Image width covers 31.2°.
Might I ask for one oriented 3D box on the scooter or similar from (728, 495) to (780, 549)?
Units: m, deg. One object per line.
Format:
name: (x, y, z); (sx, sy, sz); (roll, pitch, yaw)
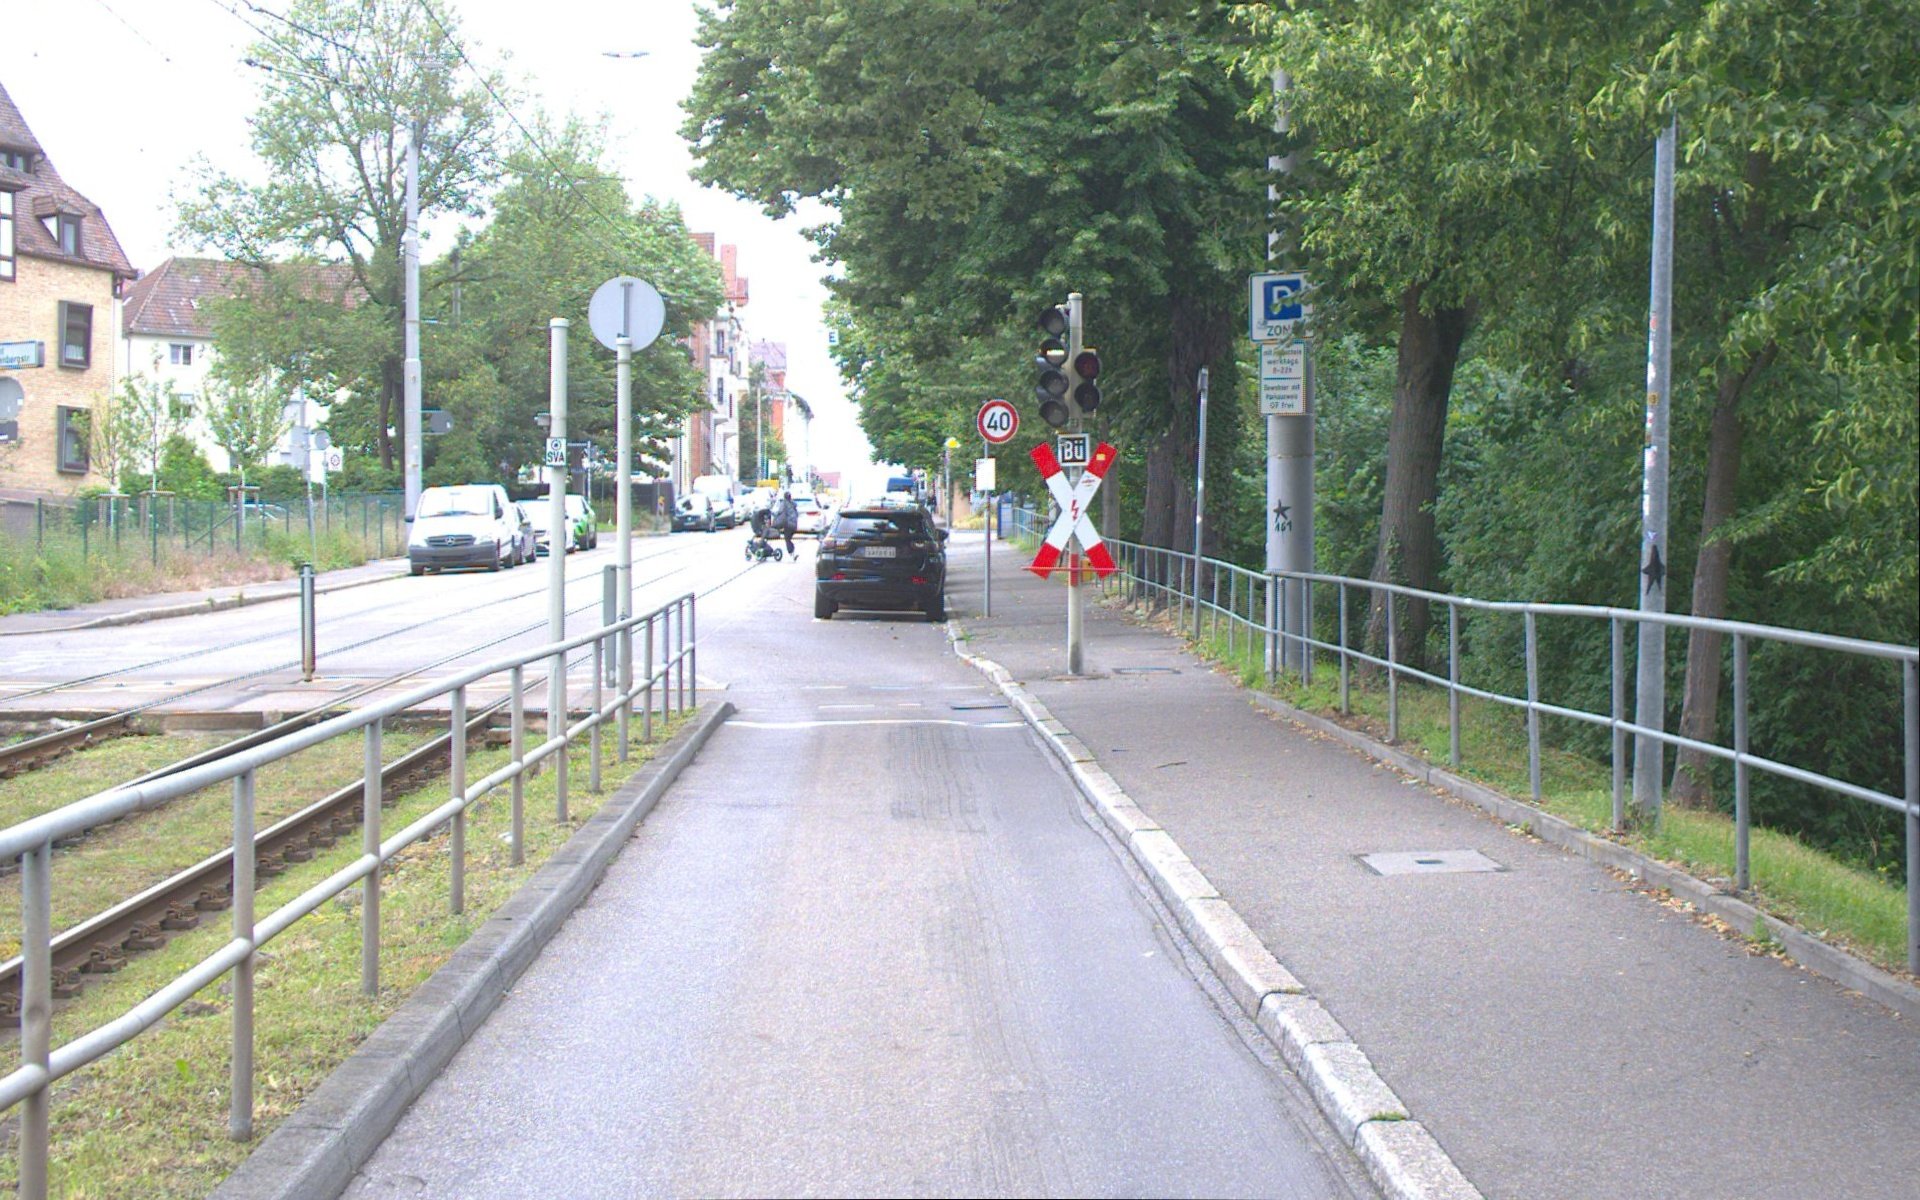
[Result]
scooter or similar: (-4.693, -1.779, 78.426); (0.838, 1.192, 0.805); (2, 1, 41)

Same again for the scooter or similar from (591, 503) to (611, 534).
scooter or similar: (-15.685, -3.565, 150.176); (0.691, 1.334, 1.639); (1, 1, 0)

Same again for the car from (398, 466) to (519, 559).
car: (-10.875, -1.890, 74.855); (2.035, 1.875, 4.886); (-2, 1, -2)

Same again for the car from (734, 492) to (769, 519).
car: (-12.927, -5.873, 213.634); (1.924, 1.596, 4.000); (1, 1, 0)

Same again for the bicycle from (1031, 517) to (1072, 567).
bicycle: (1.799, -1.150, 67.778); (0.427, 0.972, 1.795); (1, 1, -11)

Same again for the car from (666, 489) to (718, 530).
car: (-12.087, -4.074, 155.329); (1.993, 1.802, 4.000); (1, 1, 1)

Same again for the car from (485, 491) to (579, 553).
car: (-11.067, -2.023, 89.096); (1.885, 1.520, 4.664); (-1, 1, -1)

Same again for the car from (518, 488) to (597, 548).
car: (-11.083, -2.272, 94.807); (1.723, 1.574, 4.181); (-1, 2, -1)

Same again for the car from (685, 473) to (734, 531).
car: (-12.365, -4.820, 169.808); (2.230, 2.755, 5.800); (1, 1, -3)

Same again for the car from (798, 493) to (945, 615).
car: (-1.210, -0.695, 49.108); (1.904, 1.609, 4.600); (2, 2, 0)

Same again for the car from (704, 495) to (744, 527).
car: (-12.356, -4.655, 180.131); (1.993, 1.595, 4.313); (1, 1, -3)

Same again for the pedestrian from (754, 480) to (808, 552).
pedestrian: (-4.054, -1.905, 77.871); (0.915, 1.623, 0.805); (2, 1, 41)

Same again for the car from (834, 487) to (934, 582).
car: (-1.468, -1.263, 64.944); (1.726, 1.626, 4.089); (4, 2, -2)

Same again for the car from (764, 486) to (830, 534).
car: (-5.257, -2.902, 111.584); (1.993, 1.493, 4.312); (1, 1, -1)

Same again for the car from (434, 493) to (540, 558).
car: (-11.048, -1.761, 80.570); (1.896, 1.428, 4.512); (-1, 2, -1)
